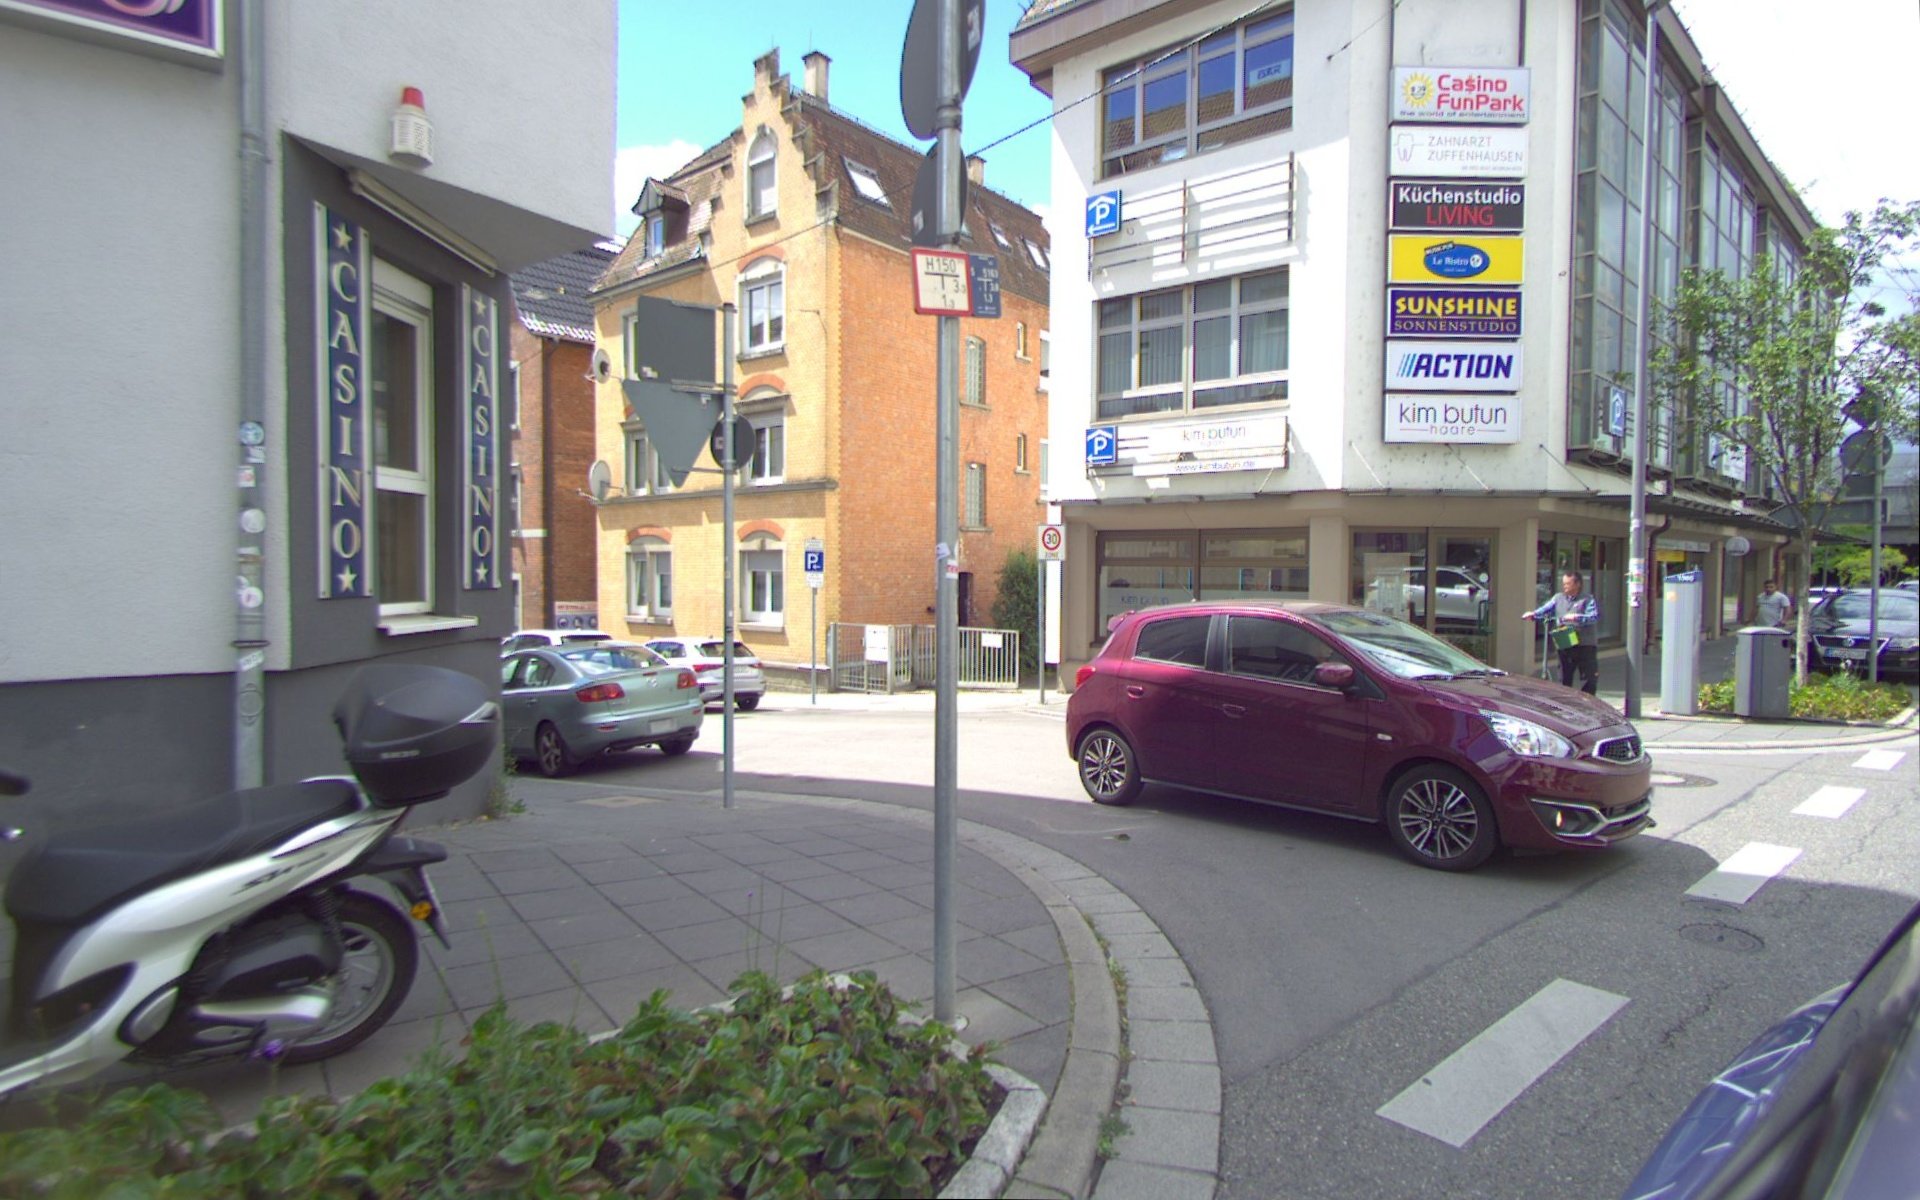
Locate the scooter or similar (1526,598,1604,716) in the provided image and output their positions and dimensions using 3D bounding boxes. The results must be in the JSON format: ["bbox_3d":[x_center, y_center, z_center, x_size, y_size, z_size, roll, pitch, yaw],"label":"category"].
[{"bbox_3d":[7.105,0.635,11.870,1.228,1.296,0.431,-1,0,-42],"label":"scooter or similar"}]

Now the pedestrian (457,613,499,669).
[{"bbox_3d":[-14.771,1.259,31.028,0.940,1.677,0.842,-3,-2,40],"label":"pedestrian"}]

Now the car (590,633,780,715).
[{"bbox_3d":[-5.498,1.420,20.007,3.874,1.417,1.821,-3,-3,42],"label":"car"}]

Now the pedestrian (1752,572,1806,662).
[{"bbox_3d":[14.736,0.294,18.216,0.469,1.582,0.660,-1,0,-40],"label":"pedestrian"}]

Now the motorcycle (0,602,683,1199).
[{"bbox_3d":[-1.939,0.671,2.546,2.335,1.275,0.660,-2,0,-42],"label":"motorcycle"}]

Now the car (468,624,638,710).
[{"bbox_3d":[-9.564,1.590,23.603,4.375,1.778,1.823,-6,-5,40],"label":"car"}]

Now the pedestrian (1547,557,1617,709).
[{"bbox_3d":[7.273,0.367,11.832,0.474,1.724,0.571,-1,0,-44],"label":"pedestrian"}]

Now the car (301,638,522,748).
[{"bbox_3d":[-8.648,1.444,15.845,3.820,1.417,1.822,-6,-3,41],"label":"car"}]

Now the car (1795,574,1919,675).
[{"bbox_3d":[15.370,0.326,16.692,4.472,1.472,1.718,-1,1,-41],"label":"car"}]

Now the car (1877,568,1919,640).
[{"bbox_3d":[24.650,0.094,25.286,4.385,1.681,1.826,-1,3,-38],"label":"car"}]

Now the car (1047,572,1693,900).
[{"bbox_3d":[2.419,0.640,6.773,1.509,1.549,3.755,-1,1,-38],"label":"car"}]

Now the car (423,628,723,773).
[{"bbox_3d":[-4.838,1.201,12.408,3.873,1.417,1.822,-6,-3,41],"label":"car"}]

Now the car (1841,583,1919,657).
[{"bbox_3d":[20.471,0.367,21.731,4.458,1.463,1.854,-1,1,-42],"label":"car"}]
